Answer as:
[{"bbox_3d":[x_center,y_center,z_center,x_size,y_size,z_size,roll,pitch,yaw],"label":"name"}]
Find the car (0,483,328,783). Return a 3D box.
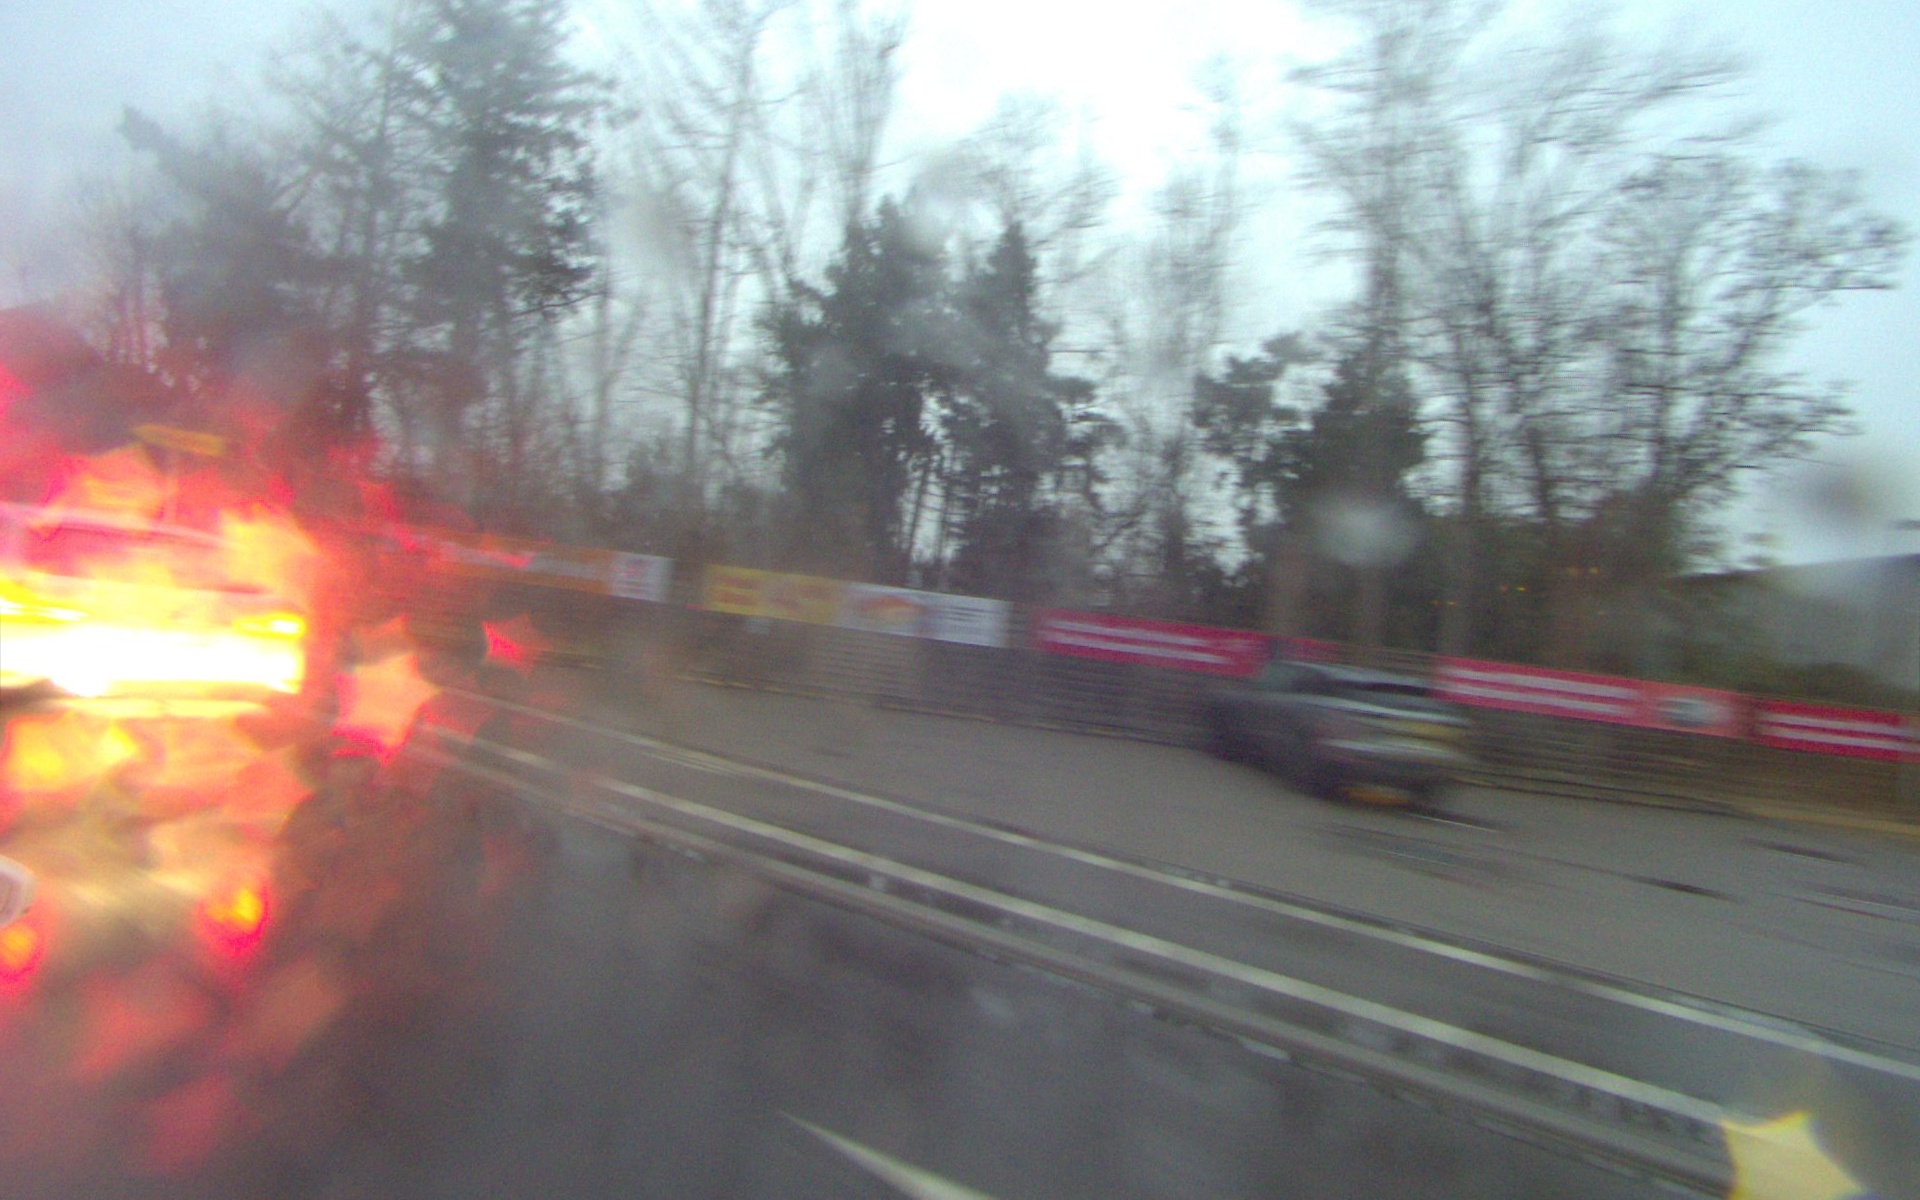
[{"bbox_3d":[-6.558,0.044,7.155,4.392,1.594,1.710,6,-1,33],"label":"car"}]

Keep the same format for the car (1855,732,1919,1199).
[{"bbox_3d":[3.370,1.179,0.629,3.942,1.547,1.567,6,-2,33],"label":"car"}]

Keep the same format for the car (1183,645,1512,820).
[{"bbox_3d":[4.966,1.630,13.738,1.986,1.627,4.475,7,-1,-11],"label":"car"}]
